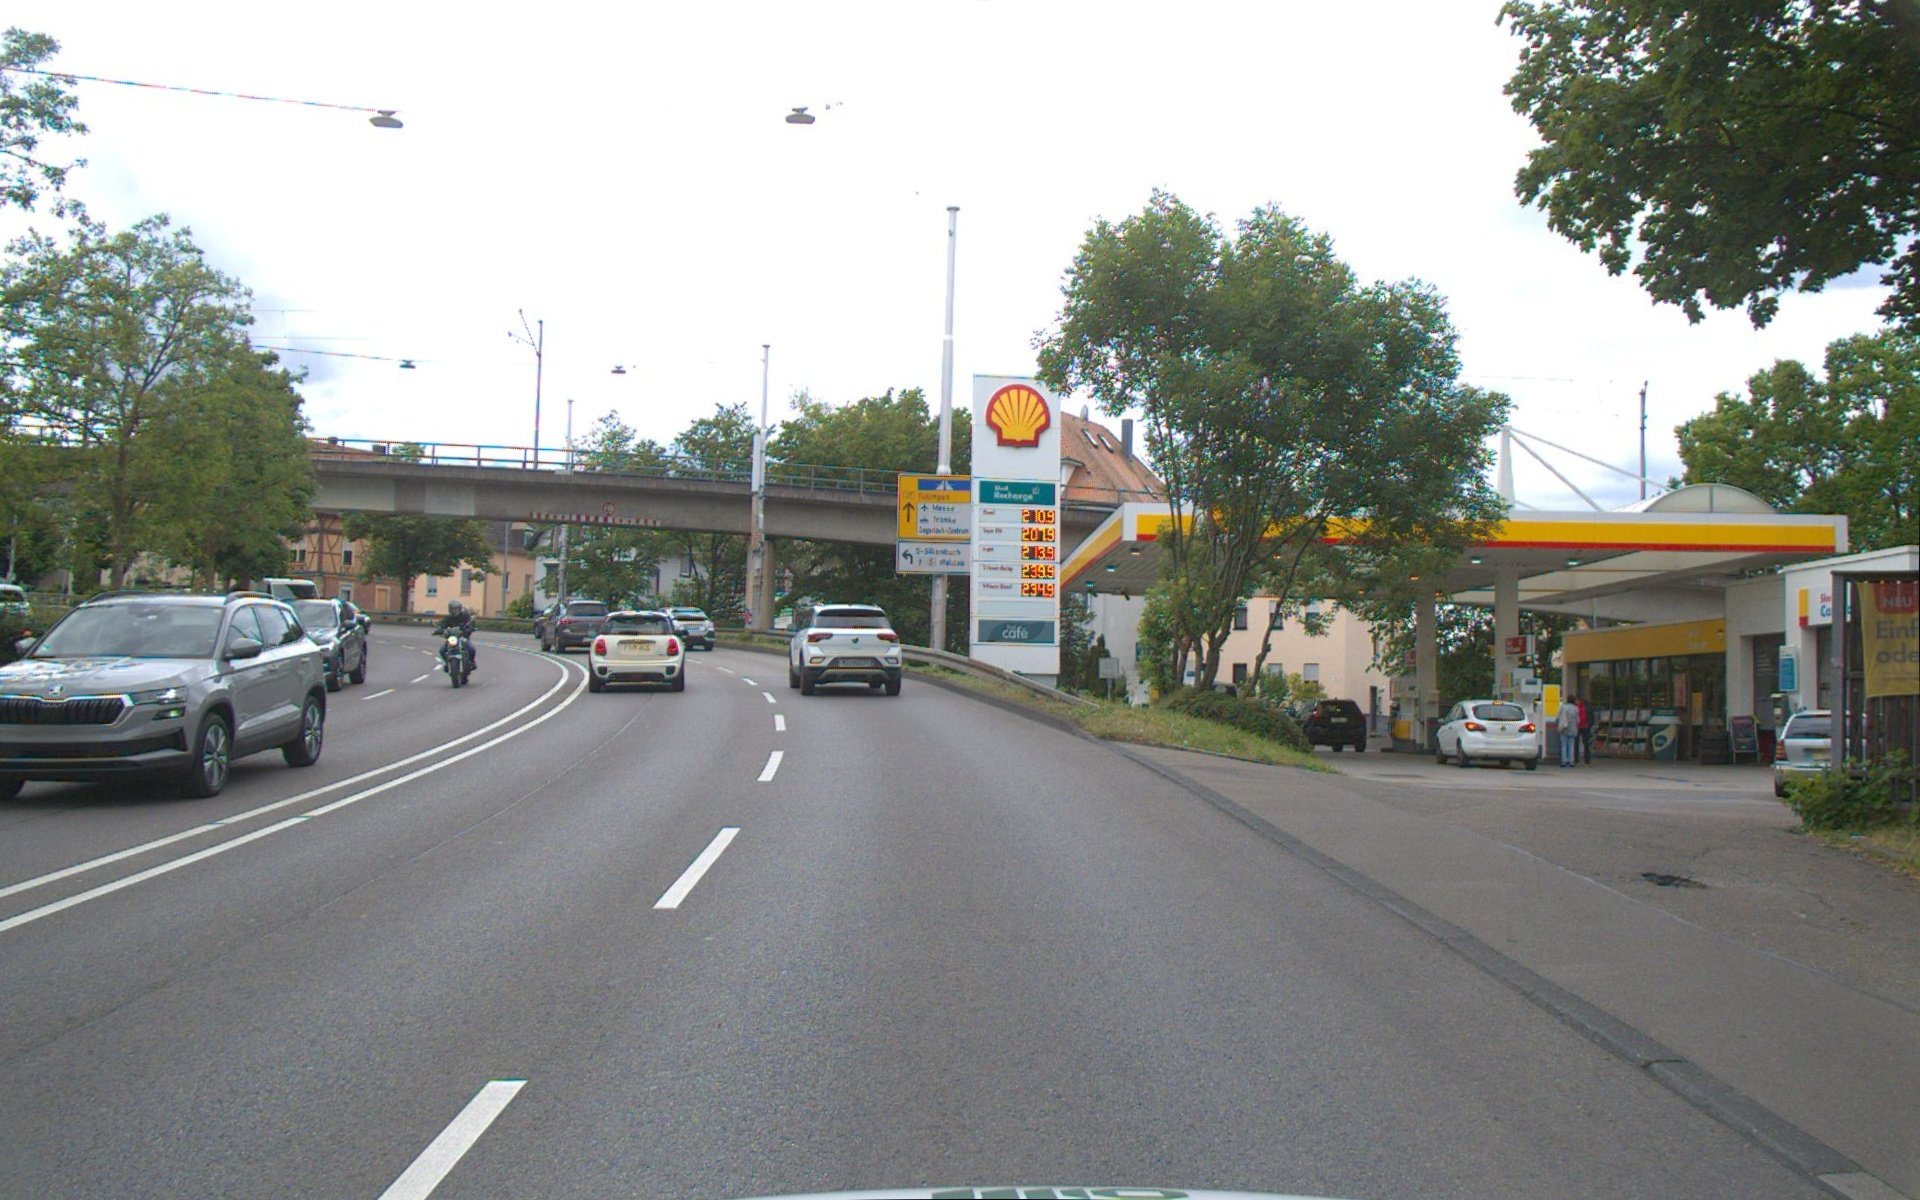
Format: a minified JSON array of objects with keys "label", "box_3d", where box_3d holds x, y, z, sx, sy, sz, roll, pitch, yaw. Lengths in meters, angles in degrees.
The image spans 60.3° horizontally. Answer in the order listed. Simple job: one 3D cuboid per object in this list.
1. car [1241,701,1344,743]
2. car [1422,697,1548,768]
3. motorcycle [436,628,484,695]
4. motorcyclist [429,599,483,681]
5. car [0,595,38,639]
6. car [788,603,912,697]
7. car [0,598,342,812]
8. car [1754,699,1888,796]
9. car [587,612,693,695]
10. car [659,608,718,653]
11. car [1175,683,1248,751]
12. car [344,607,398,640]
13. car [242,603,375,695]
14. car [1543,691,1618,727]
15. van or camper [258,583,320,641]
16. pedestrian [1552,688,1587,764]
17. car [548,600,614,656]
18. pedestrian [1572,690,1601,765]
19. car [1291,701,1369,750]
[{"label":"car","box_3d":[14.922,5.477,74.269,4.208,1.548,1.622,3,-3,27]},{"label":"car","box_3d":[11.848,2.996,37.569,1.699,1.512,3.877,0,-4,1]},{"label":"motorcycle","box_3d":[-9.501,1.149,31.505,0.474,1.074,2.265,-2,3,-7]},{"label":"motorcyclist","box_3d":[-9.596,0.762,31.517,0.745,1.511,0.960,-2,-1,-5]},{"label":"car","box_3d":[-41.400,0.706,71.525,1.757,1.816,4.397,0,1,-42]},{"label":"car","box_3d":[-2.038,0.863,29.700,1.765,1.545,3.447,2,-1,-11]},{"label":"car","box_3d":[-6.769,0.788,14.219,1.751,1.565,4.070,1,0,-6]},{"label":"car","box_3d":[14.196,2.352,27.170,1.567,1.457,4.281,-2,-4,32]},{"label":"car","box_3d":[-5.824,0.948,30.452,1.690,1.400,3.450,2,-1,-8]},{"label":"car","box_3d":[-9.202,0.997,55.854,1.647,1.433,3.443,2,-1,-15]},{"label":"car","box_3d":[7.888,3.691,52.243,1.699,2.046,4.712,0,-4,1]},{"label":"car","box_3d":[-26.407,1.028,74.076,1.715,1.439,4.389,0,0,-27]},{"label":"car","box_3d":[-12.197,0.861,31.225,1.755,1.603,4.451,0,0,-14]},{"label":"car","box_3d":[29.631,5.213,78.968,3.545,1.373,1.582,8,-5,-35]},{"label":"van or camper","box_3d":[-28.080,0.491,69.157,1.984,2.301,5.911,1,0,-26]},{"label":"pedestrian","box_3d":[14.268,2.952,38.732,0.532,1.734,0.609,1,-1,-6]},{"label":"car","box_3d":[-11.932,0.850,51.946,1.696,1.668,3.439,2,-1,-18]},{"label":"pedestrian","box_3d":[14.908,3.029,39.364,0.482,1.734,0.431,1,-1,-10]},{"label":"car","box_3d":[11.817,4.012,53.022,1.699,1.512,3.877,0,-4,1]}]
